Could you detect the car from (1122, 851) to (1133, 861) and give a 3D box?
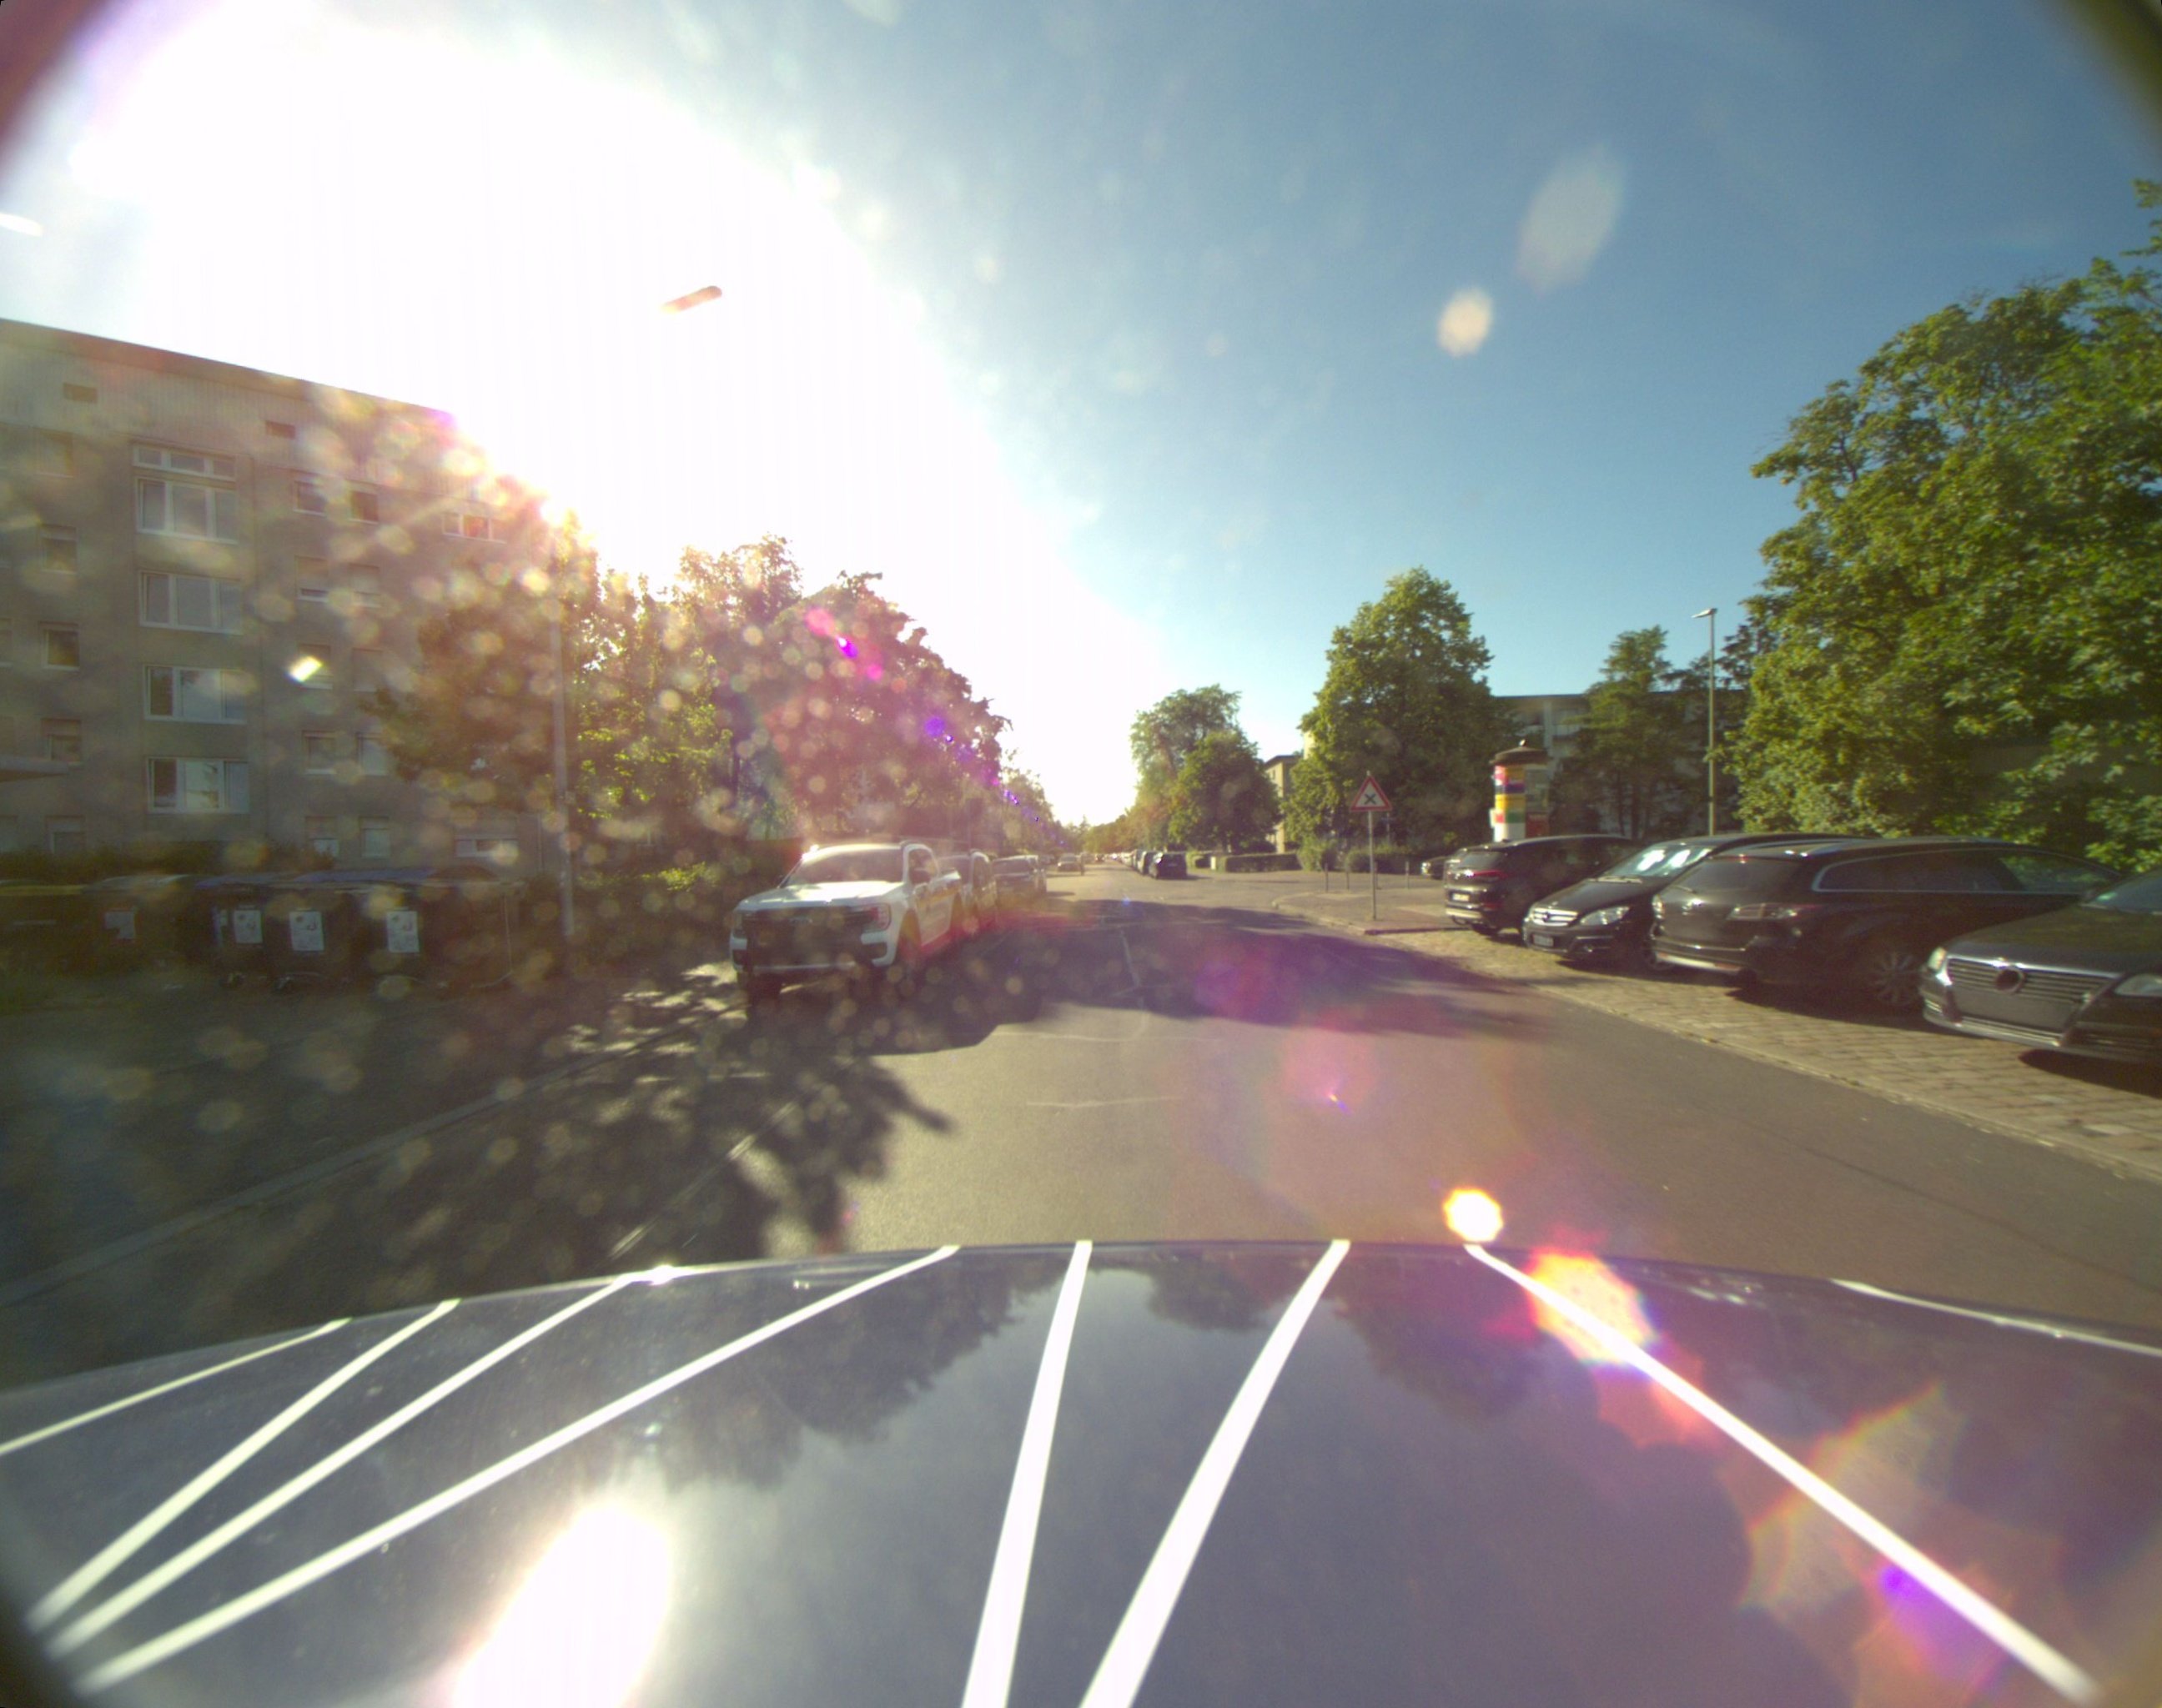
[{"bbox_3d":[7.483,0.354,122.337,1.632,1.619,3.556,1,0,1],"label":"car"}]

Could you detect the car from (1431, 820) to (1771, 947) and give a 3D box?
[{"bbox_3d":[8.223,0.428,12.288,4.198,1.647,1.846,-4,1,-1],"label":"car"}]

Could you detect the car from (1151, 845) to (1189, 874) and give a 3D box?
[{"bbox_3d":[5.176,0.305,44.588,1.784,1.564,4.424,-2,0,1],"label":"car"}]

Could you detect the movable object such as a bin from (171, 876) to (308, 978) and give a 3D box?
[{"bbox_3d":[-12.538,1.066,11.353,1.078,1.409,0.833,-2,2,7],"label":"movable object such as a bin"}]

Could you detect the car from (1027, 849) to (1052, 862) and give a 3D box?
[{"bbox_3d":[-5.859,0.183,106.977,3.504,1.499,1.602,-4,1,-5],"label":"car"}]

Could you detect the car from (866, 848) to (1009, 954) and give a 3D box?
[{"bbox_3d":[-2.791,0.855,15.907,1.837,1.780,4.556,-4,0,2],"label":"car"}]

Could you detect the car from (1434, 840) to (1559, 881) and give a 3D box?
[{"bbox_3d":[16.348,0.234,30.033,3.997,1.547,1.655,0,2,3],"label":"car"}]

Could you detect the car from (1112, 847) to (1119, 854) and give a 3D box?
[{"bbox_3d":[7.874,-0.764,173.914,1.632,1.619,3.556,1,0,1],"label":"car"}]

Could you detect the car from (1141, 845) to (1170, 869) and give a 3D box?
[{"bbox_3d":[5.294,0.186,54.412,1.817,1.672,3.648,1,0,1],"label":"car"}]

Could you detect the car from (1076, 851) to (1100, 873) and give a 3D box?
[{"bbox_3d":[0.587,0.601,59.816,1.732,1.586,3.812,-2,0,1],"label":"car"}]

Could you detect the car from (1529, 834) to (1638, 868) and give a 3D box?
[{"bbox_3d":[23.282,-0.162,35.298,3.925,1.534,1.746,0,1,-1],"label":"car"}]

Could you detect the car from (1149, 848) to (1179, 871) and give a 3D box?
[{"bbox_3d":[5.375,0.356,49.638,1.627,1.428,3.654,1,0,1],"label":"car"}]

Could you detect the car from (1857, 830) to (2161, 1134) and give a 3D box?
[{"bbox_3d":[7.737,0.610,4.649,4.029,1.504,1.905,-4,1,-1],"label":"car"}]

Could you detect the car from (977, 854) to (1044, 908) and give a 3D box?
[{"bbox_3d":[-2.372,0.876,26.373,1.809,1.584,4.023,-4,1,1],"label":"car"}]

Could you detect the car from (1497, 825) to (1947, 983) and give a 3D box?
[{"bbox_3d":[7.680,0.546,9.409,3.997,1.524,1.831,-4,1,-1],"label":"car"}]

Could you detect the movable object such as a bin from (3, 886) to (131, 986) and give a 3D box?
[{"bbox_3d":[-15.284,1.218,11.477,0.899,1.409,0.707,-2,2,2],"label":"movable object such as a bin"}]

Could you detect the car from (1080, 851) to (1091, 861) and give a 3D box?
[{"bbox_3d":[0.816,0.292,127.330,1.732,1.586,3.812,-2,0,1],"label":"car"}]

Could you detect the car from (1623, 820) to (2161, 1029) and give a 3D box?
[{"bbox_3d":[7.820,0.566,7.108,4.102,1.504,1.812,-3,1,3],"label":"car"}]

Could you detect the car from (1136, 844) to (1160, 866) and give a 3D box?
[{"bbox_3d":[5.969,0.082,68.354,1.909,1.930,4.511,1,0,2],"label":"car"}]

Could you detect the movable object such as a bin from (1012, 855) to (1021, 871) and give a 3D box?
[{"bbox_3d":[-5.692,0.802,66.876,0.754,1.434,0.848,0,2,0],"label":"movable object such as a bin"}]

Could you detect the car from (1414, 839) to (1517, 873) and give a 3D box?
[{"bbox_3d":[17.947,0.082,35.550,3.925,1.534,1.746,0,1,-1],"label":"car"}]

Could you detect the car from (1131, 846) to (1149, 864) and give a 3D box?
[{"bbox_3d":[6.482,0.080,83.473,1.732,1.941,3.812,1,0,1],"label":"car"}]

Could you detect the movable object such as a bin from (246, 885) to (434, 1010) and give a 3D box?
[{"bbox_3d":[-8.938,1.097,9.218,1.252,1.339,1.053,-1,2,13],"label":"movable object such as a bin"}]

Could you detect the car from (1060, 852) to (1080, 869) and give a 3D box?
[{"bbox_3d":[-0.993,0.593,71.487,1.732,1.462,3.812,-2,0,1],"label":"car"}]

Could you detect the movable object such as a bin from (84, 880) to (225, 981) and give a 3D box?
[{"bbox_3d":[-13.975,1.136,11.495,1.078,1.409,0.833,-2,2,7],"label":"movable object such as a bin"}]

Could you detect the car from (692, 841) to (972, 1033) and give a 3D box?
[{"bbox_3d":[-2.892,0.846,10.302,1.911,1.829,5.274,-4,0,0],"label":"car"}]

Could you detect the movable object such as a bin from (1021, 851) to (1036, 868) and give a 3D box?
[{"bbox_3d":[-4.597,0.451,66.976,1.278,1.434,1.179,0,1,0],"label":"movable object such as a bin"}]

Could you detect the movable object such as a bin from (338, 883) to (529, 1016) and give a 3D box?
[{"bbox_3d":[-7.358,1.050,8.692,1.252,1.339,1.053,-1,2,13],"label":"movable object such as a bin"}]

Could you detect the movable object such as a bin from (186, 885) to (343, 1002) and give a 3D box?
[{"bbox_3d":[-10.300,1.100,9.620,1.077,1.340,0.865,-1,2,13],"label":"movable object such as a bin"}]

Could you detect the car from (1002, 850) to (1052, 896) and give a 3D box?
[{"bbox_3d":[-2.194,0.733,31.646,1.772,1.601,4.370,0,2,0],"label":"car"}]
